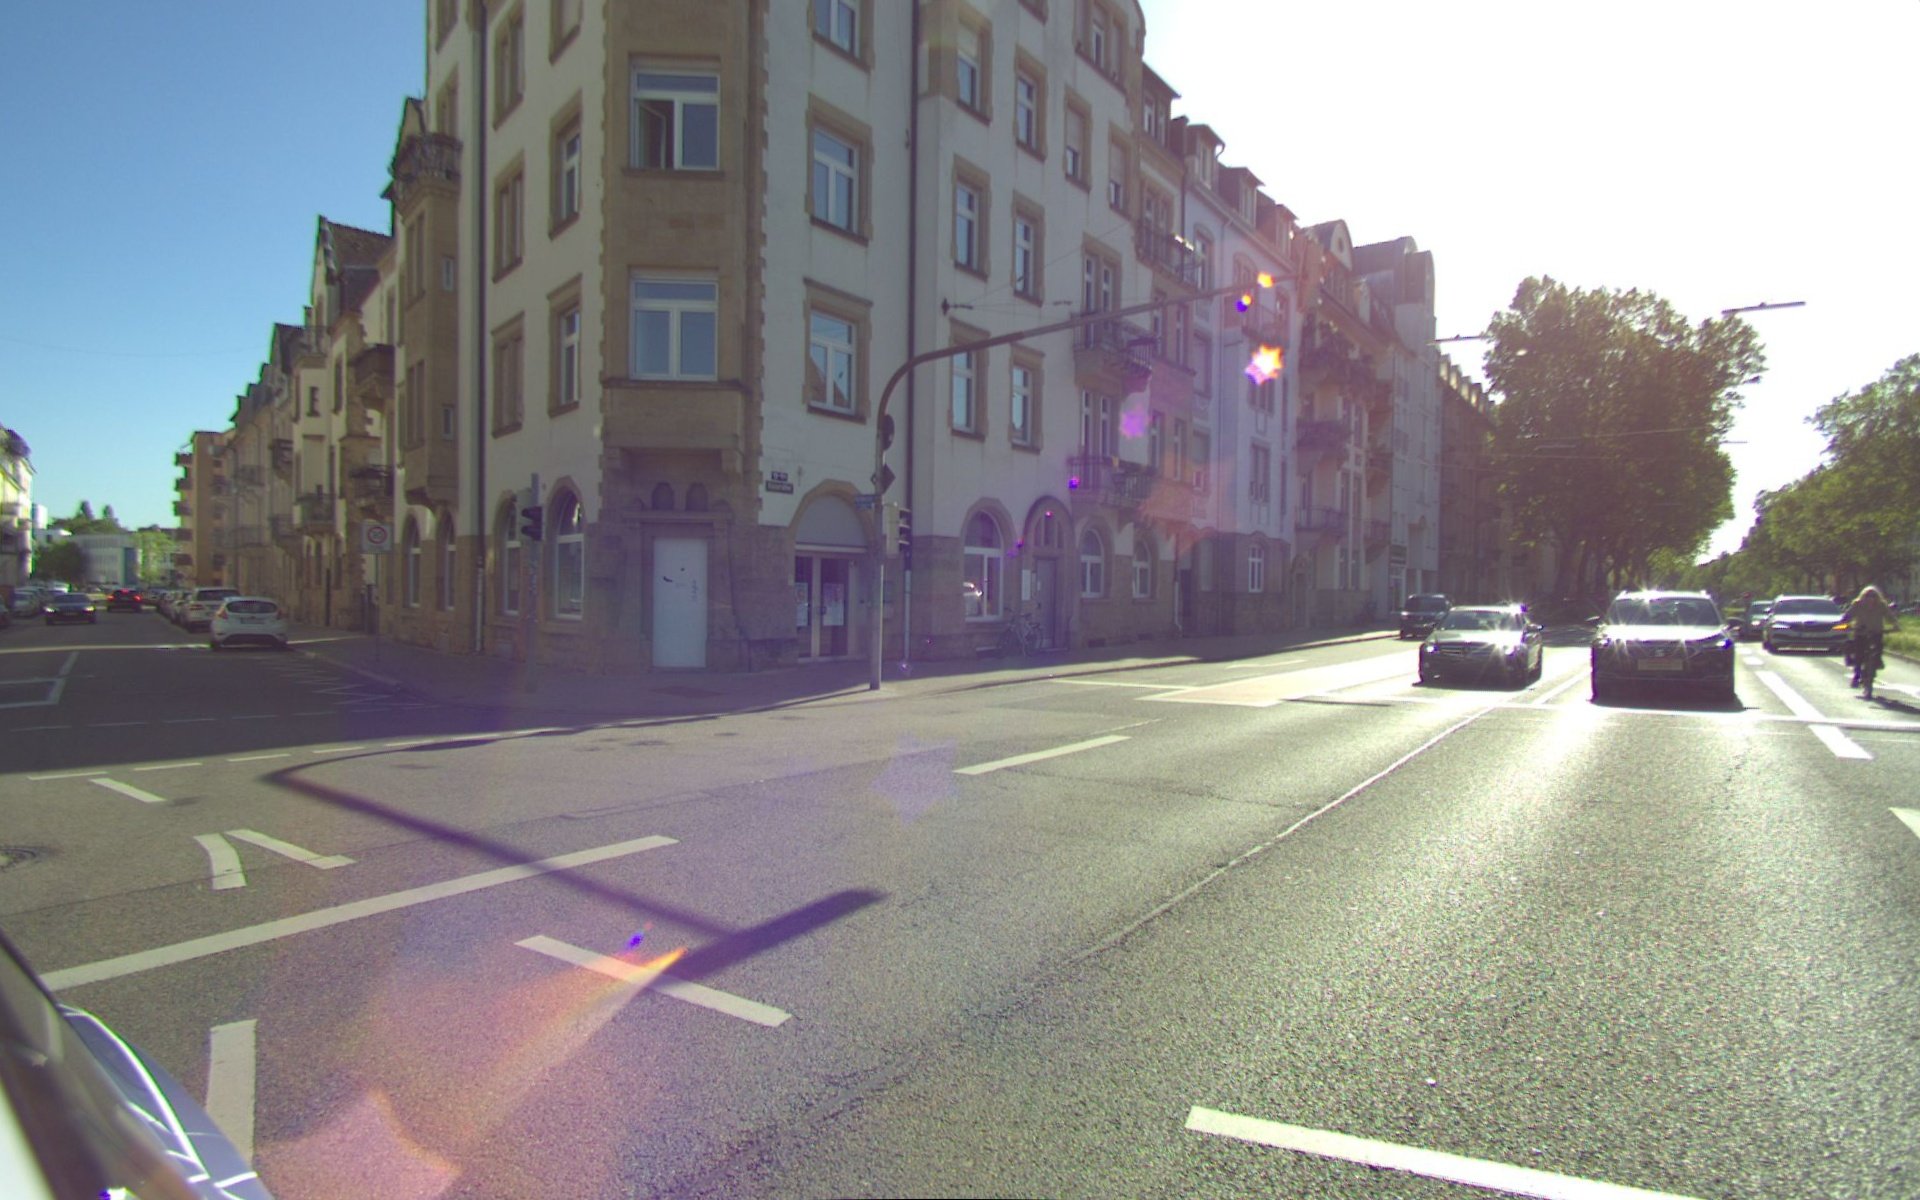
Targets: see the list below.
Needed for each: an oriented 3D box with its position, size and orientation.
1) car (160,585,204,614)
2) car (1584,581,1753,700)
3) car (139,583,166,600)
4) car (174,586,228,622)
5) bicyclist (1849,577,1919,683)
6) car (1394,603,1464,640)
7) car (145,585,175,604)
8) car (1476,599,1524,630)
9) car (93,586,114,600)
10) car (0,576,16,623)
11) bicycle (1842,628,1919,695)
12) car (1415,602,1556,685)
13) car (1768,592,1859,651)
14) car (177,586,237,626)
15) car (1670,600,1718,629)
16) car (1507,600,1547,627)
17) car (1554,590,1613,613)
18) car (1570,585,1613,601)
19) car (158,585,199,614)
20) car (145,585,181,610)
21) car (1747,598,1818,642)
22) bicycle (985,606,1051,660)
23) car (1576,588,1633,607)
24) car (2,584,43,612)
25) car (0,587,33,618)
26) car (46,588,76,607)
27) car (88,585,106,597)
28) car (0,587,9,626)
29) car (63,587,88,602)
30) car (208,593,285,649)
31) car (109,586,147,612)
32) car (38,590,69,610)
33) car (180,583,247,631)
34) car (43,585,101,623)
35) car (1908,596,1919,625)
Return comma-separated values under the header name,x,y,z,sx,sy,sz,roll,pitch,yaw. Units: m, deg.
name,x,y,z,sx,sy,sz,roll,pitch,yaw
car,-45.675,-0.053,59.372,1.888,1.529,4.355,-4,4,-39
car,11.528,0.571,16.381,1.997,1.657,4.187,-1,0,38
car,-81.602,-0.888,102.260,1.889,1.635,4.353,-4,4,-41
car,-36.683,0.139,48.889,1.888,1.529,4.355,-4,4,-39
bicyclist,14.182,0.438,15.544,0.686,1.554,1.061,1,1,38
car,18.887,0.826,40.672,1.764,1.399,3.847,1,0,38
car,-74.580,-0.532,94.331,1.889,1.635,4.353,-4,4,-41
car,28.362,0.752,53.145,1.640,1.600,3.359,0,0,38
car,-107.636,-0.944,127.165,1.849,1.679,4.008,-2,2,-39
car,-44.317,-0.004,45.962,1.806,2.050,3.826,-3,2,-40
bicycle,14.152,0.914,15.544,0.794,0.932,1.616,0,0,38
car,10.130,0.746,19.376,1.764,1.400,3.847,0,0,38
car,24.044,0.560,28.621,1.764,1.541,3.969,1,0,38
car,-33.016,0.228,44.306,1.888,1.529,4.355,-4,4,-39
car,42.049,0.797,57.948,1.724,1.563,3.943,1,0,43
car,34.940,0.838,62.318,1.640,1.600,3.359,0,0,38
car,51.553,0.104,83.656,3.752,1.718,1.848,-1,2,-3
car,70.785,-0.737,113.515,3.783,1.718,1.833,0,2,22
car,-49.729,-0.060,64.379,1.888,1.635,4.355,-4,4,-39
car,-56.723,-0.192,72.024,1.889,1.635,4.354,-4,4,-39
car,30.626,0.735,37.765,1.762,1.541,3.849,-2,-1,36
bicycle,1.334,0.720,22.911,0.609,1.142,1.788,1,0,36
car,64.378,-0.231,101.174,4.527,1.718,1.847,-1,2,-1
car,-60.381,-0.125,65.233,1.806,1.671,3.825,-3,2,-41
car,-52.411,0.134,55.762,1.806,1.607,3.825,-3,2,-41
car,-85.411,-0.291,96.166,1.849,1.679,4.008,-2,2,-39
car,-131.366,-1.396,154.059,1.849,1.679,4.008,-2,2,-39
car,-41.390,0.280,42.568,1.806,1.607,3.825,-3,2,-41
car,-100.157,-0.651,114.613,1.849,1.679,4.008,-2,2,-39
car,-19.794,0.555,28.024,1.532,1.422,3.578,3,-1,-38
car,-58.030,-0.068,70.660,1.888,1.741,4.356,1,-1,-38
car,-81.621,-0.040,91.144,1.849,1.679,4.008,-2,2,-39
car,-29.262,0.231,39.613,1.888,1.671,4.355,-4,4,-39
car,-42.174,0.147,48.123,1.849,1.679,4.008,-2,2,-39
car,61.327,0.674,63.598,1.982,1.850,4.064,2,1,36
